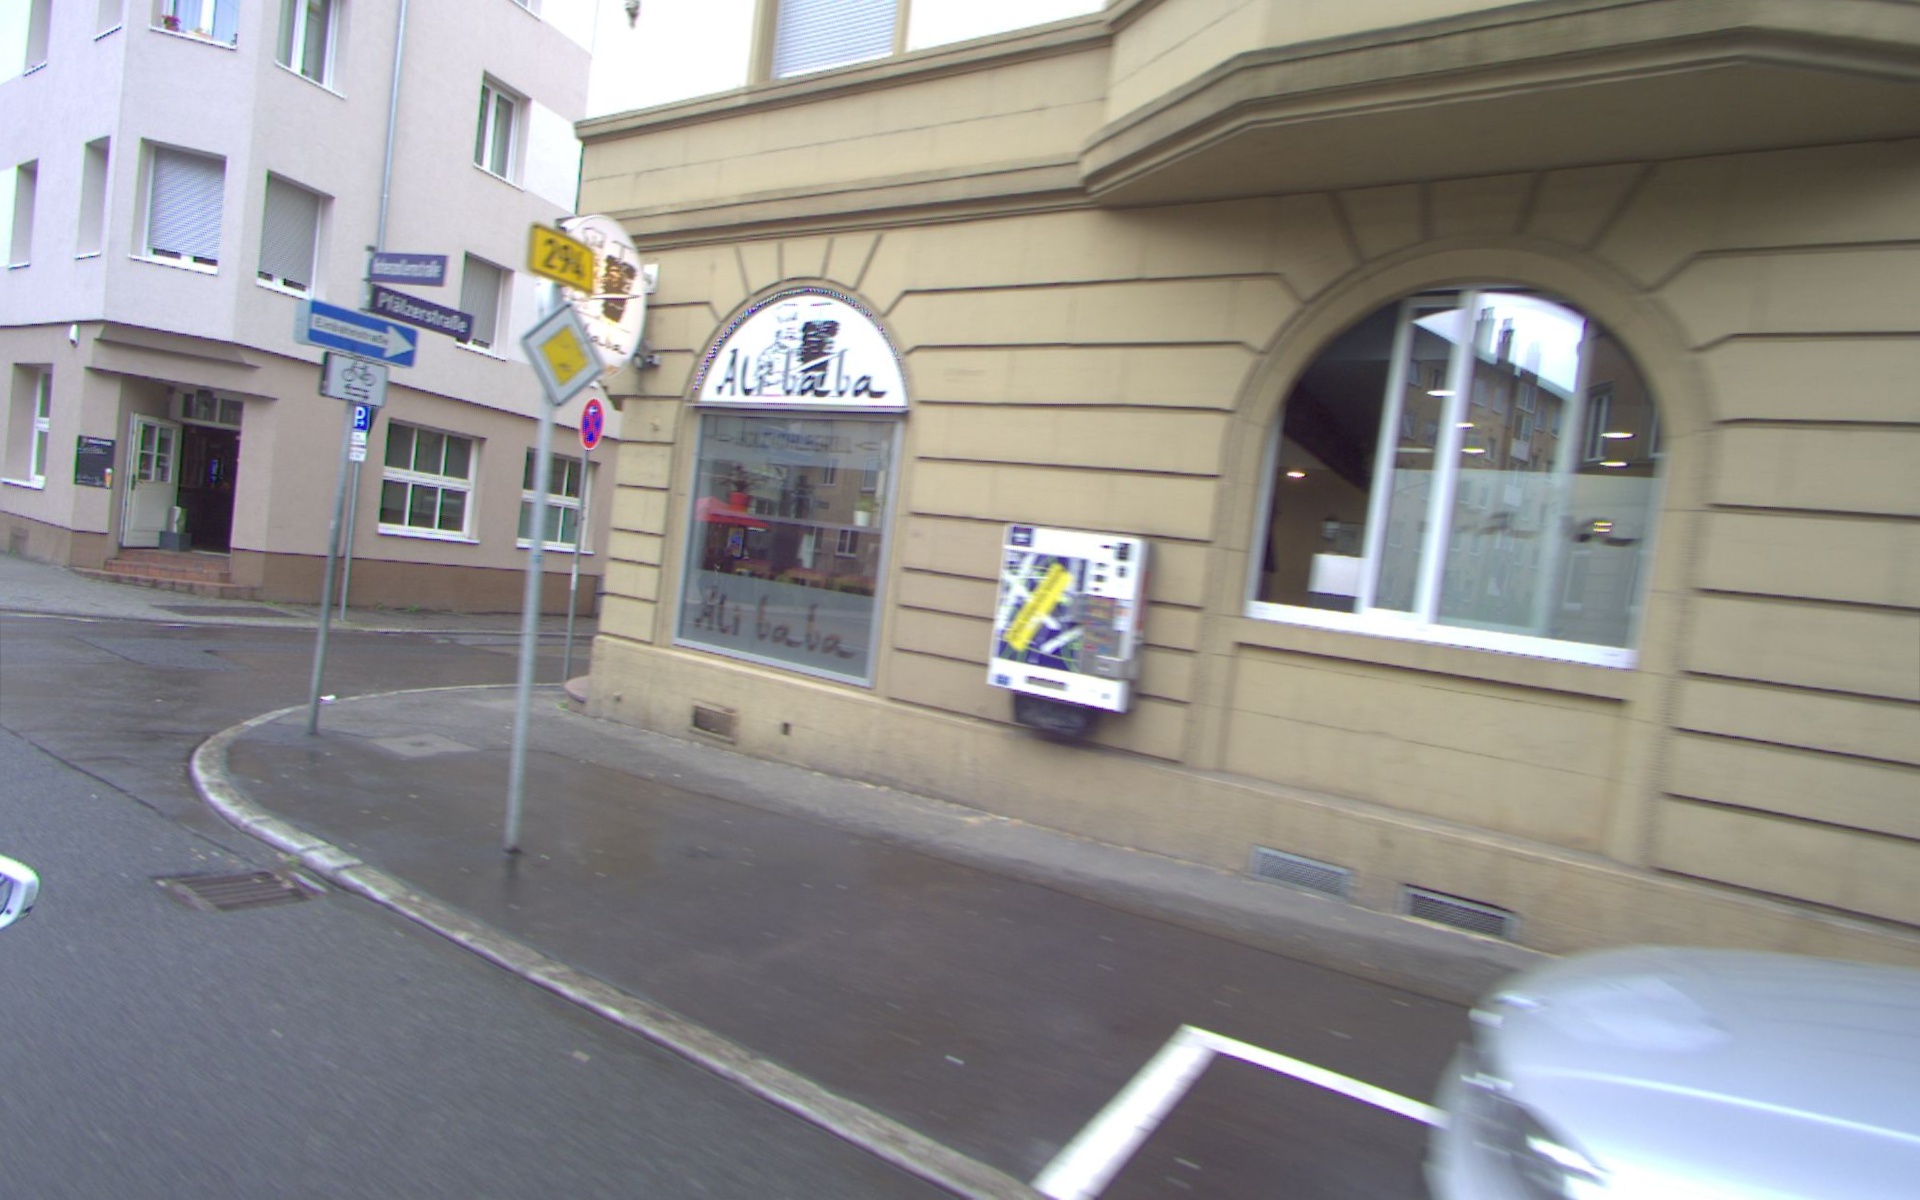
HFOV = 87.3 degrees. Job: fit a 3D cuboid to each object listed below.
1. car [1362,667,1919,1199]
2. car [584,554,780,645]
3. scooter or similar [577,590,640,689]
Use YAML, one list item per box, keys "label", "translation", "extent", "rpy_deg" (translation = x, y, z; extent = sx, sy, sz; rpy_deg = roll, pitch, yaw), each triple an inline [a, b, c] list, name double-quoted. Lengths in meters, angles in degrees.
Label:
- label: "car"
  translation: [2.769, 1.127, 1.233]
  extent: [4.022, 1.484, 1.568]
  rpy_deg: [7, 4, 33]
- label: "car"
  translation: [-5.921, 0.050, 21.935]
  extent: [2.010, 1.571, 3.999]
  rpy_deg: [6, -1, 22]
- label: "scooter or similar"
  translation: [-4.328, 0.481, 12.448]
  extent: [0.458, 1.143, 1.376]
  rpy_deg: [3, -1, -10]
